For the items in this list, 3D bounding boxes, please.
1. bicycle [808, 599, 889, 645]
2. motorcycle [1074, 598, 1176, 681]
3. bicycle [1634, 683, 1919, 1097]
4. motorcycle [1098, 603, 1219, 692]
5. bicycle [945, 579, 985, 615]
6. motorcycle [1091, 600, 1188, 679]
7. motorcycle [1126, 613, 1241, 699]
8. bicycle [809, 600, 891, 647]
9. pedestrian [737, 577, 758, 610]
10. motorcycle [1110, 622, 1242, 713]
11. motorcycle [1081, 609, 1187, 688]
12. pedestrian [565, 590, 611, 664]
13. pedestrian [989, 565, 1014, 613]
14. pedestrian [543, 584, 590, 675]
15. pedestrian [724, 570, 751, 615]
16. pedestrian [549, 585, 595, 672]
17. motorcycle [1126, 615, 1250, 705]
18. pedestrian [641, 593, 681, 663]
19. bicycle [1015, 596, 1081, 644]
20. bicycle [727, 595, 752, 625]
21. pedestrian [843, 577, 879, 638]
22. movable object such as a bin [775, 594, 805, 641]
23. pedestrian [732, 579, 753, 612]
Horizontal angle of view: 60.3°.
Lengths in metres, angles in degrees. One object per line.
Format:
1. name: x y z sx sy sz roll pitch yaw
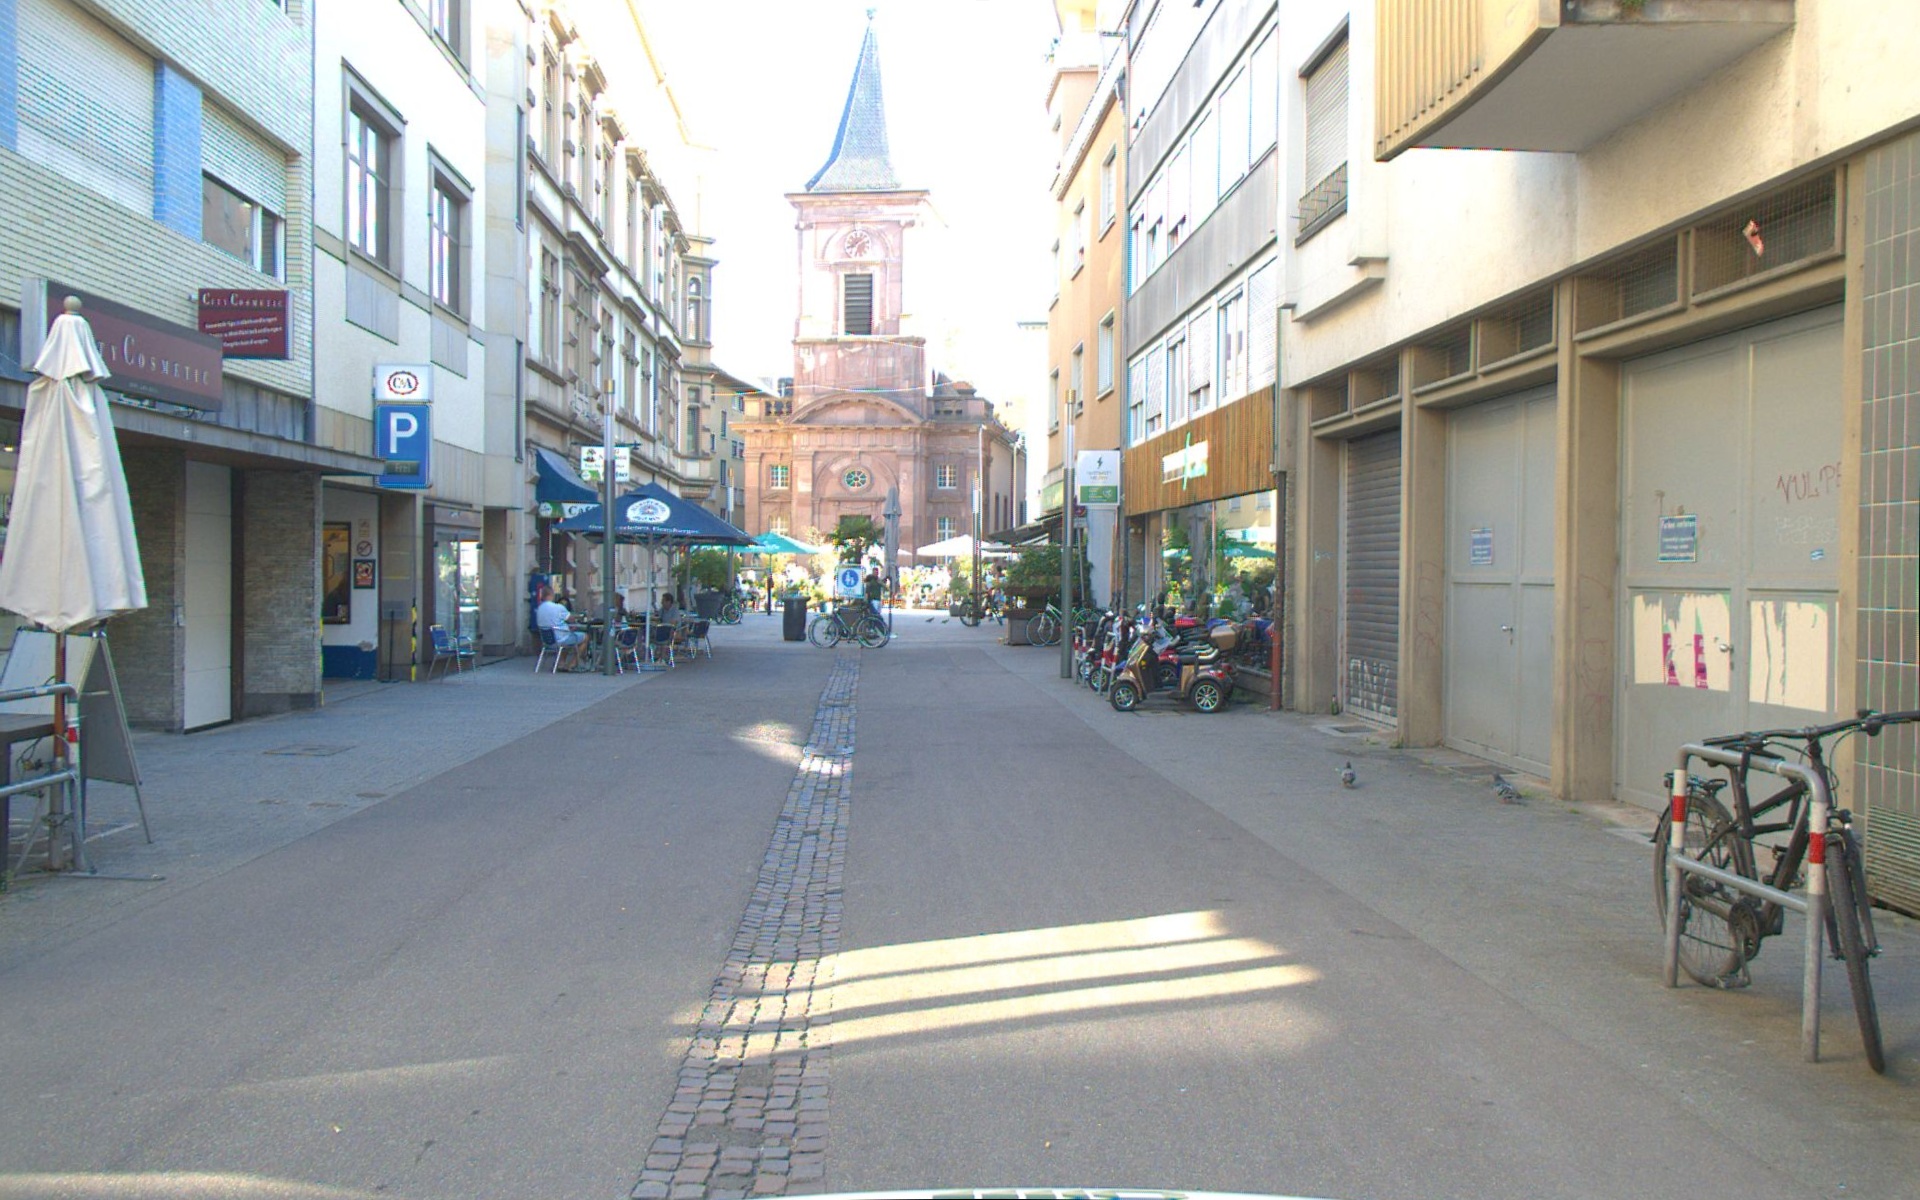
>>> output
1. bicycle: -2.482 0.493 36.901 1.789 1.022 0.381 0 0 -7
2. motorcycle: 2.442 0.576 24.461 1.452 1.202 0.412 0 0 12
3. bicycle: 2.911 0.910 5.796 0.437 1.160 1.710 1 -1 2
4. motorcycle: 2.735 0.641 22.775 1.590 1.195 0.481 0 0 15
5. bicycle: 0.176 -0.114 62.420 1.571 1.331 0.361 0 1 -33
6. motorcycle: 2.765 0.600 25.522 1.452 1.202 0.412 0 0 12
7. motorcycle: 2.912 0.722 21.535 1.452 1.094 0.412 0 0 15
8. bicycle: -2.430 0.519 36.498 1.789 1.022 0.381 0 0 -7
9. pedestrian: -8.214 -0.253 64.009 0.686 1.239 0.720 0 1 2
10. motorcycle: 2.584 0.794 19.790 1.531 1.060 0.373 0 0 15
11. motorcycle: 2.468 0.676 23.478 1.452 1.094 0.412 0 0 15
12. pedestrian: -6.418 0.453 28.550 0.751 1.254 0.829 0 1 -11
13. pedestrian: 1.458 -0.381 58.394 0.608 1.669 0.647 0 1 -45
14. pedestrian: -6.165 0.446 25.880 0.696 1.392 0.717 0 1 -15
15. pedestrian: -7.827 -0.268 58.116 0.767 1.583 0.535 1 1 20
16. pedestrian: -6.316 0.450 26.890 0.706 1.392 0.707 0 1 -16
17. motorcycle: 2.837 0.739 20.573 1.484 1.094 0.412 0 0 15
18. pedestrian: -5.305 0.490 29.331 0.680 1.236 0.581 0 1 -12
19. bicycle: 1.937 0.436 36.383 1.432 1.022 0.573 0 1 3
20. bicycle: -6.482 0.285 48.680 0.447 0.864 2.146 0 1 0
21. pedestrian: -2.451 0.184 41.000 0.866 1.489 0.730 0 0 -3
22. movable object such as a bin: -4.074 0.418 39.639 0.707 1.093 0.374 0 1 -5
23. pedestrian: -8.236 -0.172 62.574 0.686 1.239 0.720 0 1 2
